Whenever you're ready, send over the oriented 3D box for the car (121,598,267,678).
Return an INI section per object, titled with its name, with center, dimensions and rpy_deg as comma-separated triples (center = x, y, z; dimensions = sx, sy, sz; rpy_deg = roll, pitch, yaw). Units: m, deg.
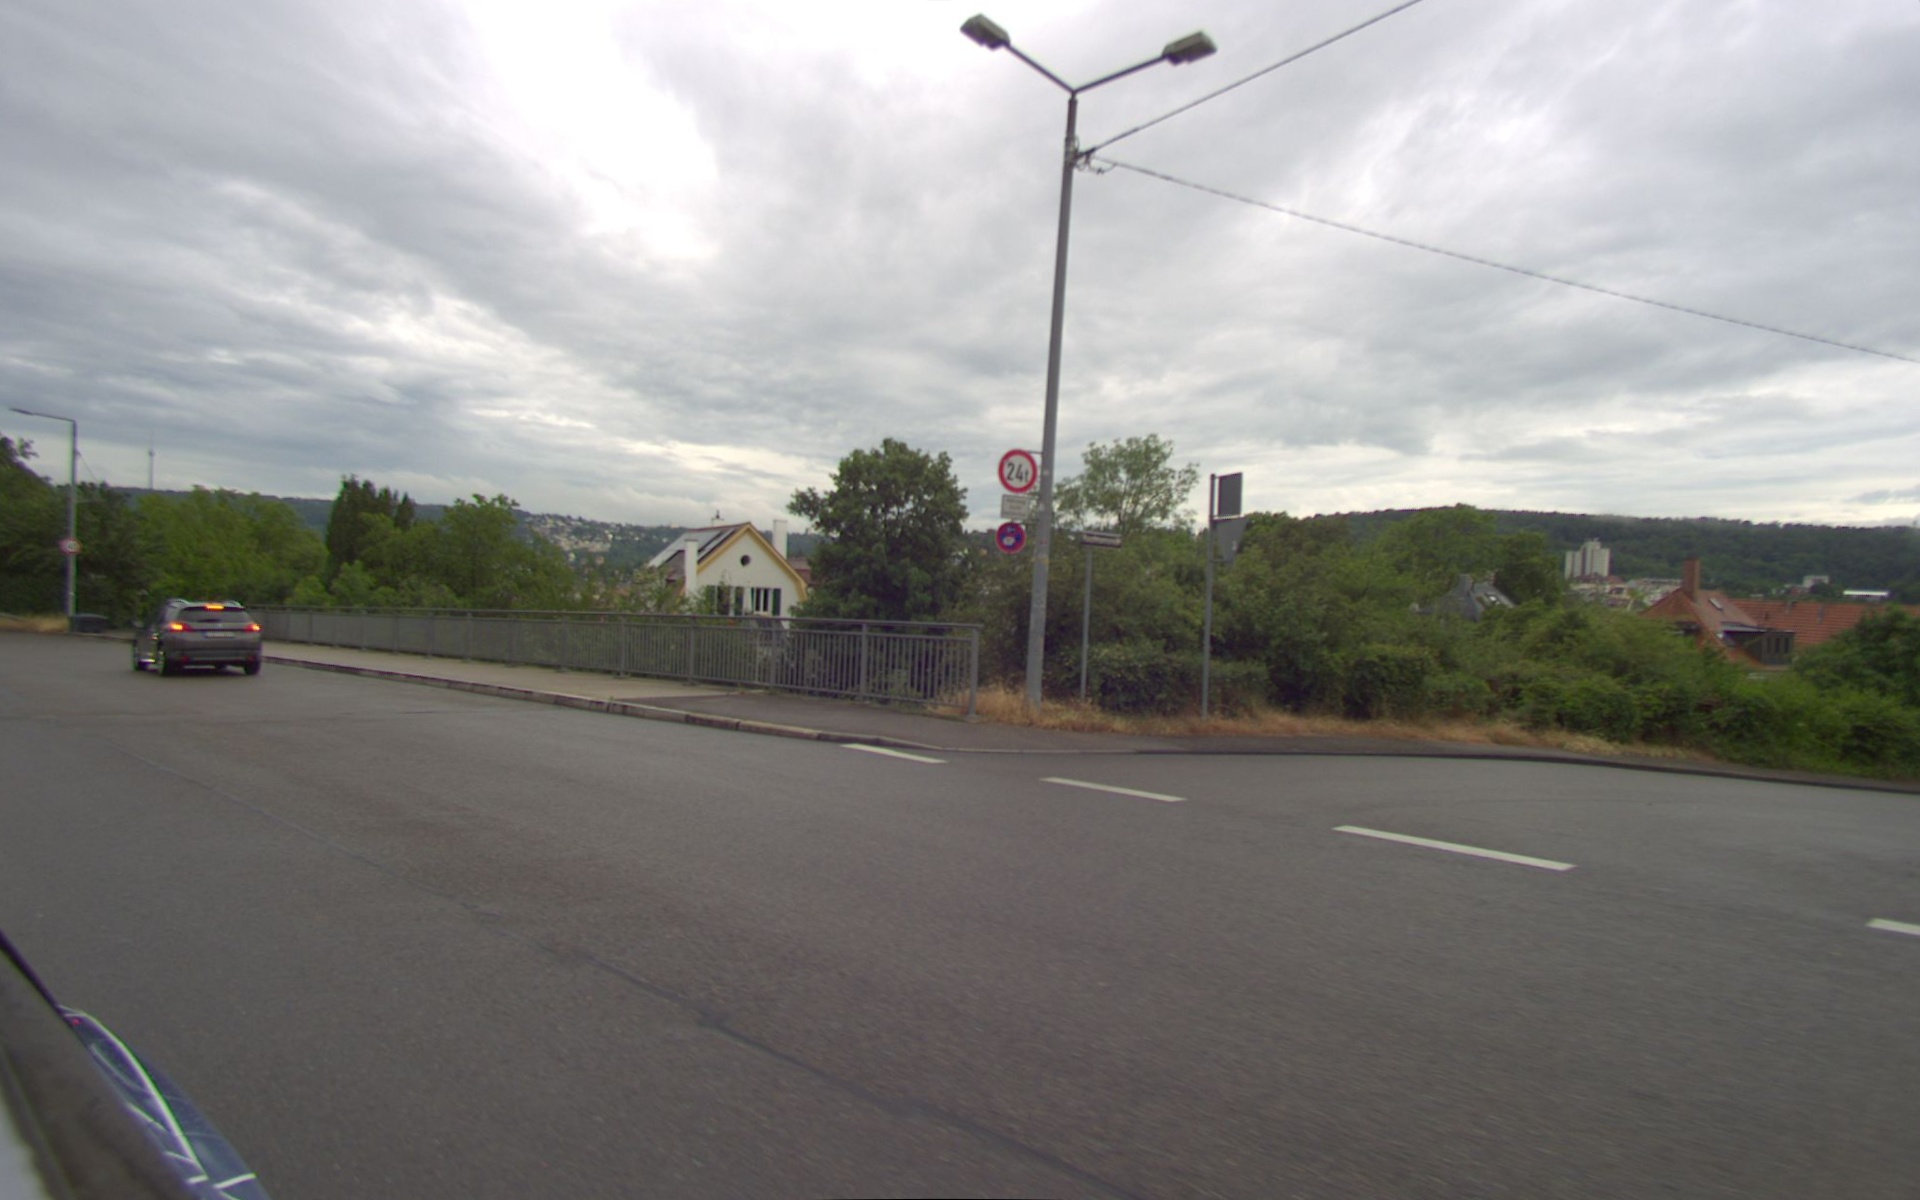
[car]
center = -16.514, 0.770, 21.754
dimensions = 3.999, 1.557, 1.715
rpy_deg = 0, -2, 41
